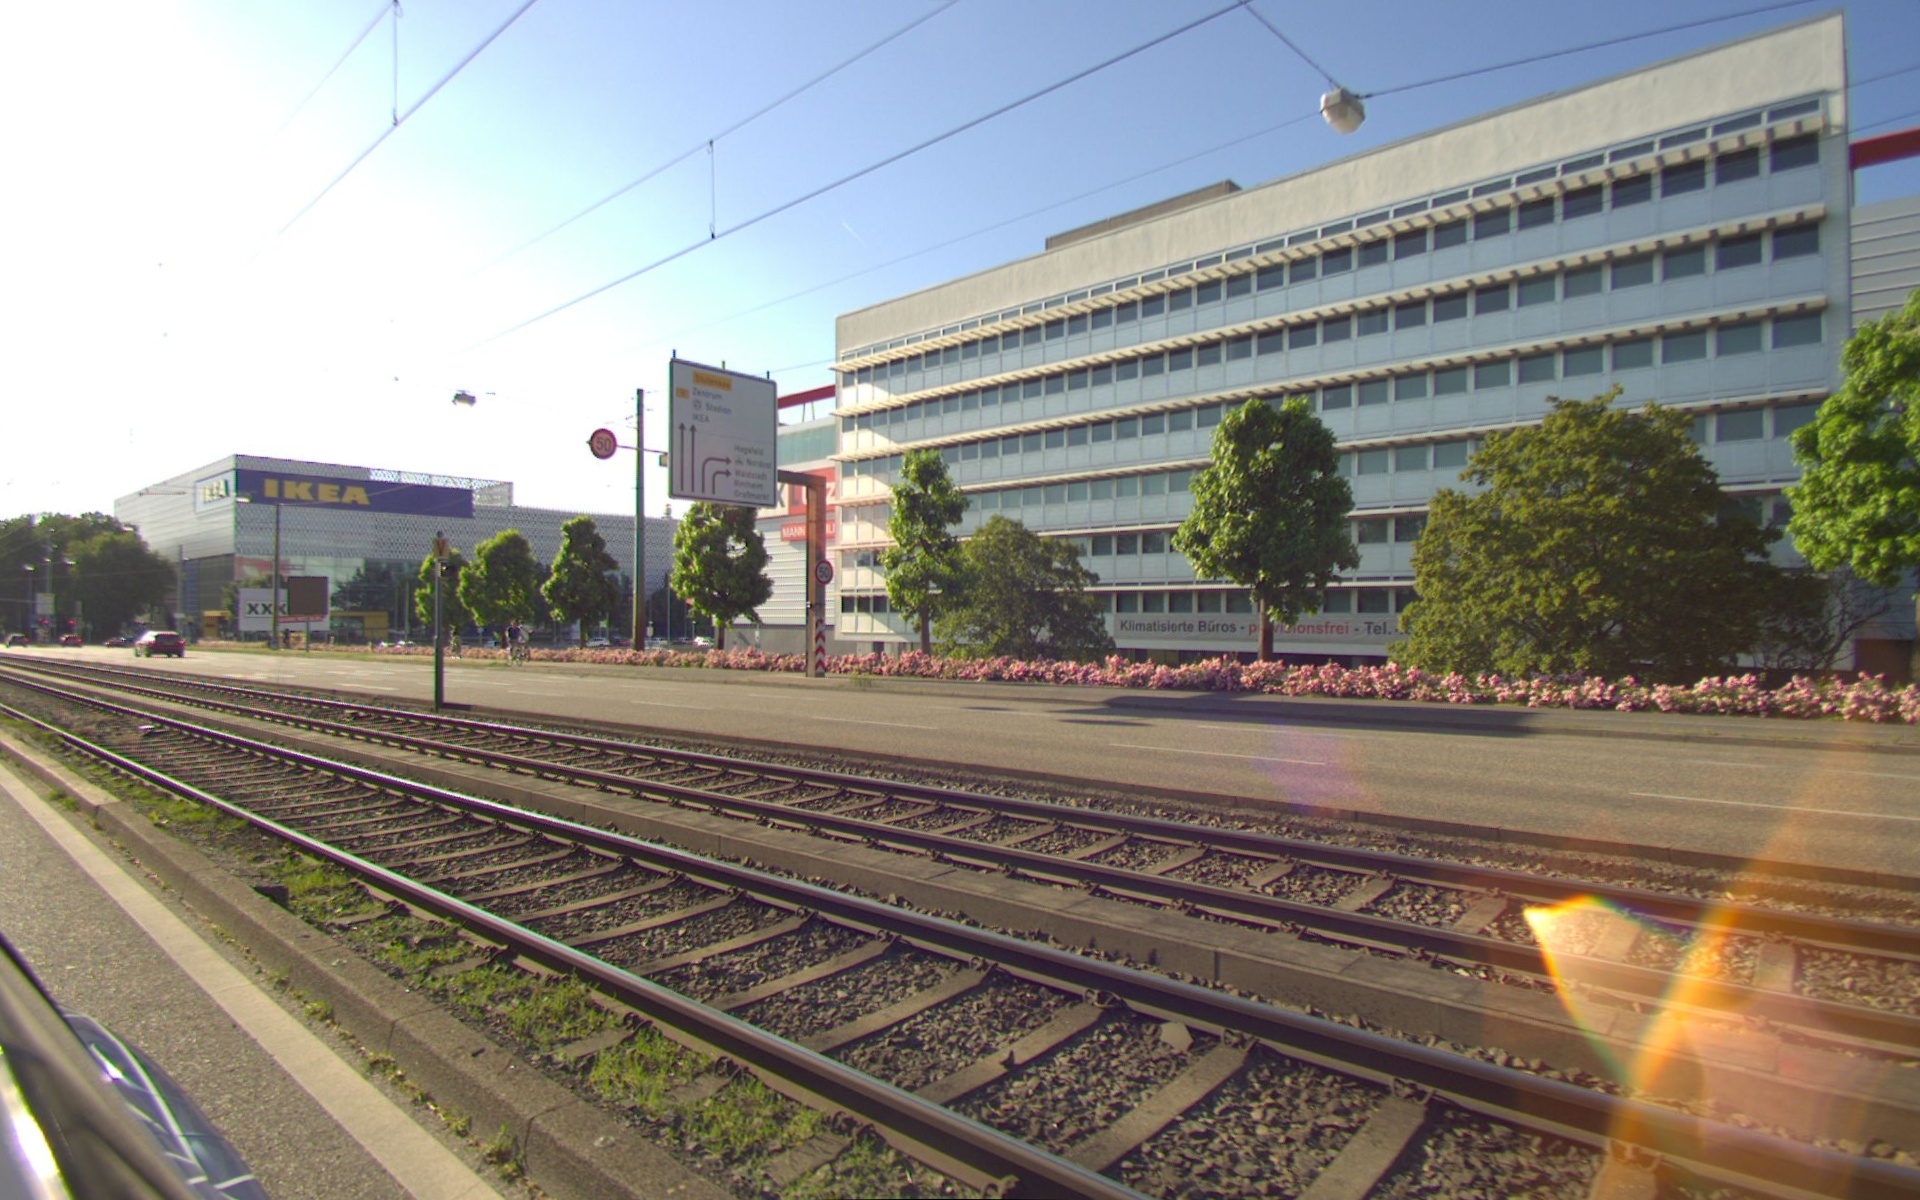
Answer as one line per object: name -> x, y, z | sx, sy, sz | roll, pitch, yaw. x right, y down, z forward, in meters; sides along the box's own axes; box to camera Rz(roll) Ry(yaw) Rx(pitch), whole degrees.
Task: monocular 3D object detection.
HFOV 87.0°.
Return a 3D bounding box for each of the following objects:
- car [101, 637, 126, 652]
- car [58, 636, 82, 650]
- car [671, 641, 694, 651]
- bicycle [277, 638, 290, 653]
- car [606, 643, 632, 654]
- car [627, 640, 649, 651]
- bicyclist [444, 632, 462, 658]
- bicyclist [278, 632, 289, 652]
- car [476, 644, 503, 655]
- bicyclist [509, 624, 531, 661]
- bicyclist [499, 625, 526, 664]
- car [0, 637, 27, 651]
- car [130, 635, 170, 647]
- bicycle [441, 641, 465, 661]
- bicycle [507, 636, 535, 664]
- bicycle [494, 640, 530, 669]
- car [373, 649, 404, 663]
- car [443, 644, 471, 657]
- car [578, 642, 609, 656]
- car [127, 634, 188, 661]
car -> -97.110, 5.092, 116.141 | 1.796, 1.655, 4.010 | 2, -3, -35
car -> -100.068, 4.868, 113.781 | 1.911, 1.488, 4.138 | 3, -4, -41
car -> -47.094, 7.816, 171.886 | 3.998, 1.668, 1.972 | -2, -2, 42
bicycle -> -57.555, 3.875, 86.108 | 0.653, 1.159, 2.025 | -3, 0, -40
car -> -54.752, 7.765, 162.328 | 4.431, 1.563, 1.652 | -2, 0, 37
car -> -53.088, 7.517, 166.933 | 3.998, 1.668, 1.705 | -2, -2, 42
bicyclist -> -27.442, 2.432, 54.733 | 0.880, 1.384, 0.617 | -2, -3, 44
bicyclist -> -57.661, 3.546, 86.219 | 0.653, 1.635, 0.802 | -2, 0, -40
car -> -69.303, 7.282, 148.973 | 3.993, 1.605, 1.912 | -2, 0, 37
bicyclist -> -20.498, 1.957, 47.144 | 0.595, 1.671, 0.964 | -2, 0, -43
bicyclist -> -18.304, 1.810, 41.367 | 0.696, 1.523, 0.971 | -3, 0, -43
car -> -104.486, 4.845, 111.543 | 4.133, 1.472, 1.838 | -2, -2, 39
car -> -114.462, 5.836, 143.052 | 4.194, 1.509, 2.017 | 4, -4, -44
bicycle -> -27.420, 2.747, 54.711 | 1.704, 1.067, 0.617 | -2, -3, 45
bicycle -> -20.454, 2.325, 47.112 | 0.595, 1.228, 1.750 | -3, 0, -43
bicycle -> -18.323, 2.224, 41.399 | 0.696, 1.081, 2.029 | -3, 0, -43
car -> -78.041, 7.615, 138.181 | 4.408, 1.723, 1.976 | -2, 0, 36
car -> -72.052, 7.236, 145.007 | 3.993, 1.758, 1.912 | -2, 0, 37
car -> -56.468, 7.572, 155.881 | 4.164, 1.813, 1.829 | -2, 0, -7
car -> -48.777, 2.851, 61.481 | 4.885, 1.514, 2.018 | -1, -1, 41
